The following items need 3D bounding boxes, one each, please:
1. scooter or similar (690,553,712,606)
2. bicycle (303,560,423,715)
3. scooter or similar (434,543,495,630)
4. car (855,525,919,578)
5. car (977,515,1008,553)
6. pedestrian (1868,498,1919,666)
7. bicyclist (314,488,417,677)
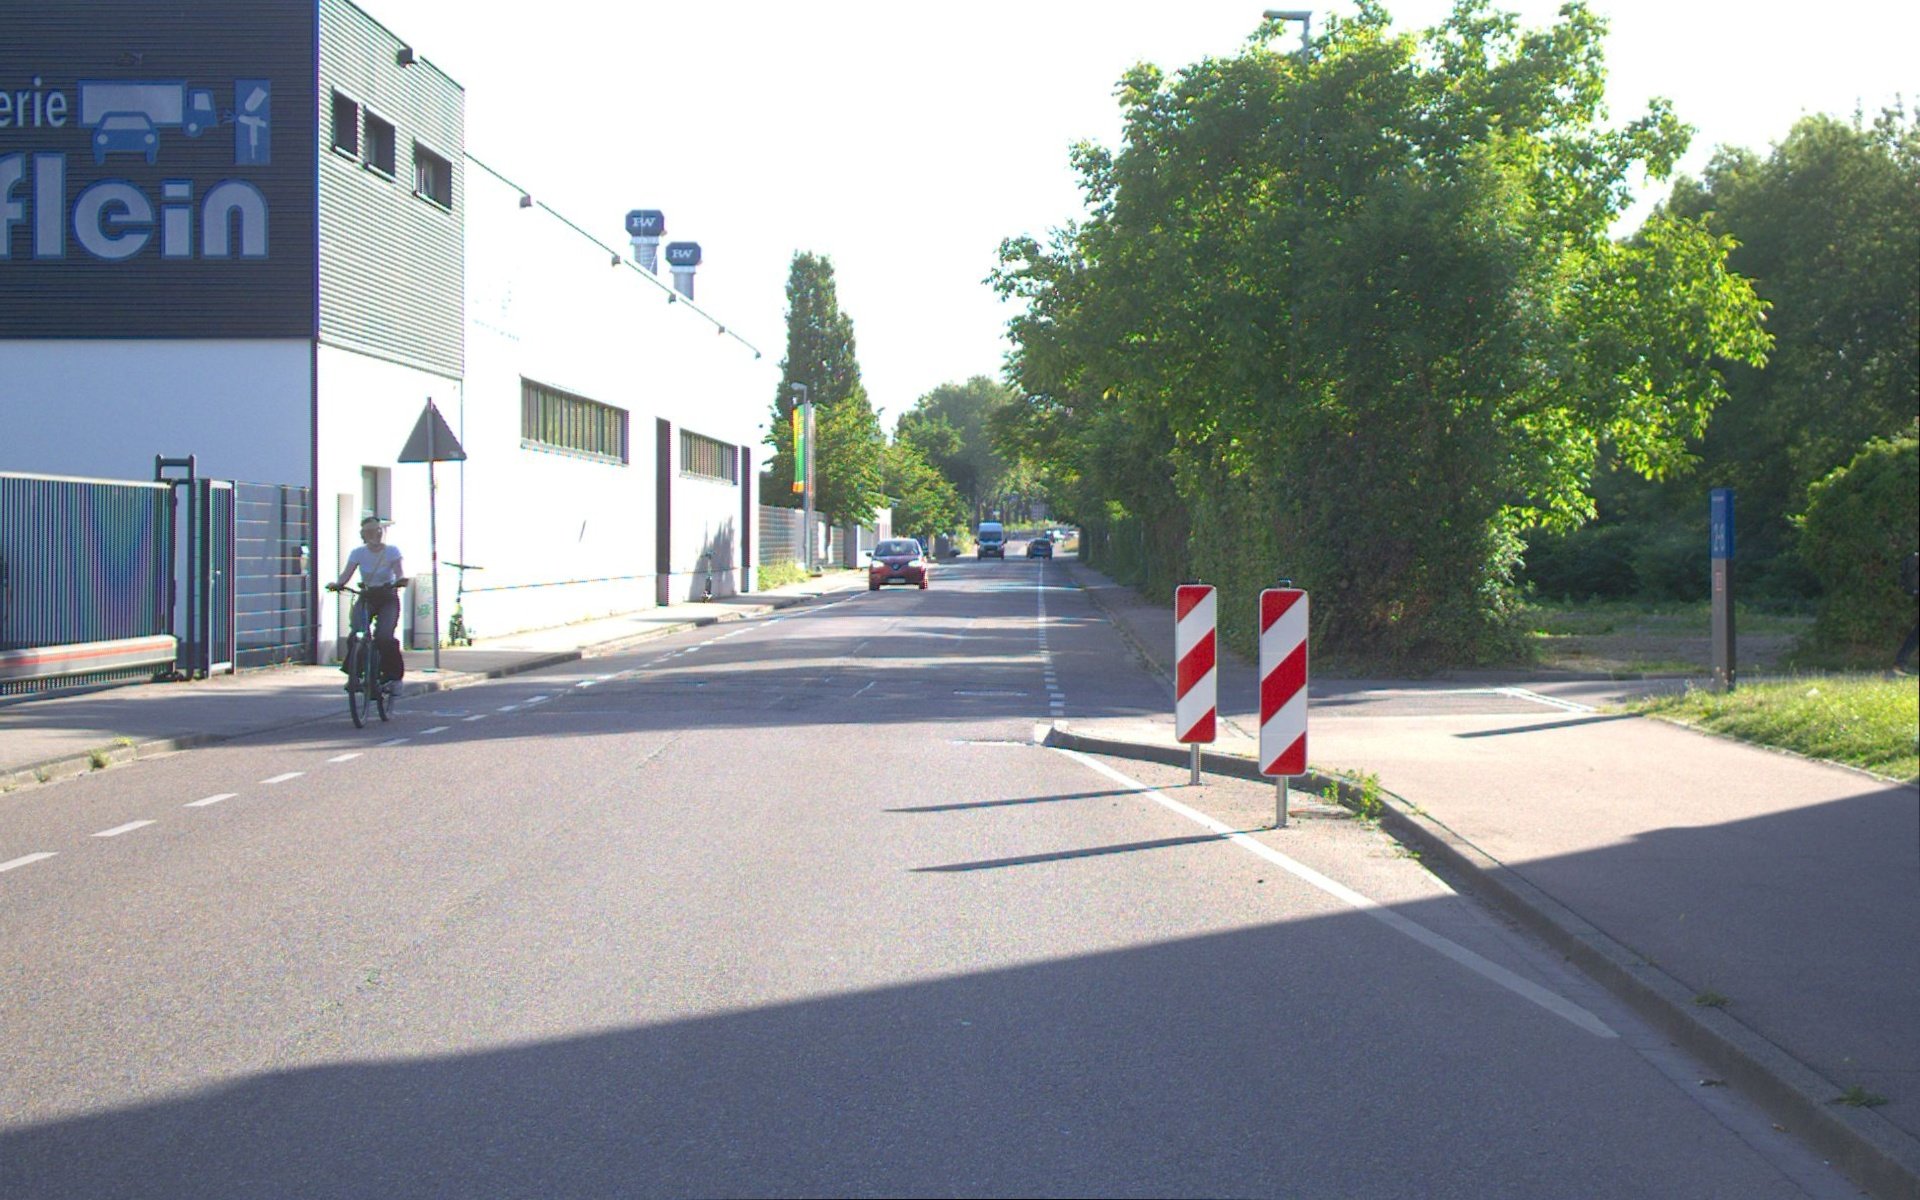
[{"bbox_3d":[-6.258,-0.508,83.148,0.416,1.263,1.059,0,1,1],"label":"scooter or similar"},{"bbox_3d":[-5.188,0.303,29.985,0.667,1.284,2.172,0,1,0],"label":"bicycle"},{"bbox_3d":[-7.074,-0.204,49.140,0.507,1.199,1.753,3,1,2],"label":"scooter or similar"},{"bbox_3d":[-2.204,-1.470,104.633,1.817,1.484,4.000,-3,1,0],"label":"car"},{"bbox_3d":[2.459,-4.924,256.915,2.123,2.771,5.926,-2,1,1],"label":"car"},{"bbox_3d":[10.600,-0.221,37.319,1.152,1.786,0.896,-3,1,-2],"label":"pedestrian"},{"bbox_3d":[-5.178,-0.158,29.981,0.746,1.622,0.834,0,1,0],"label":"bicyclist"}]
